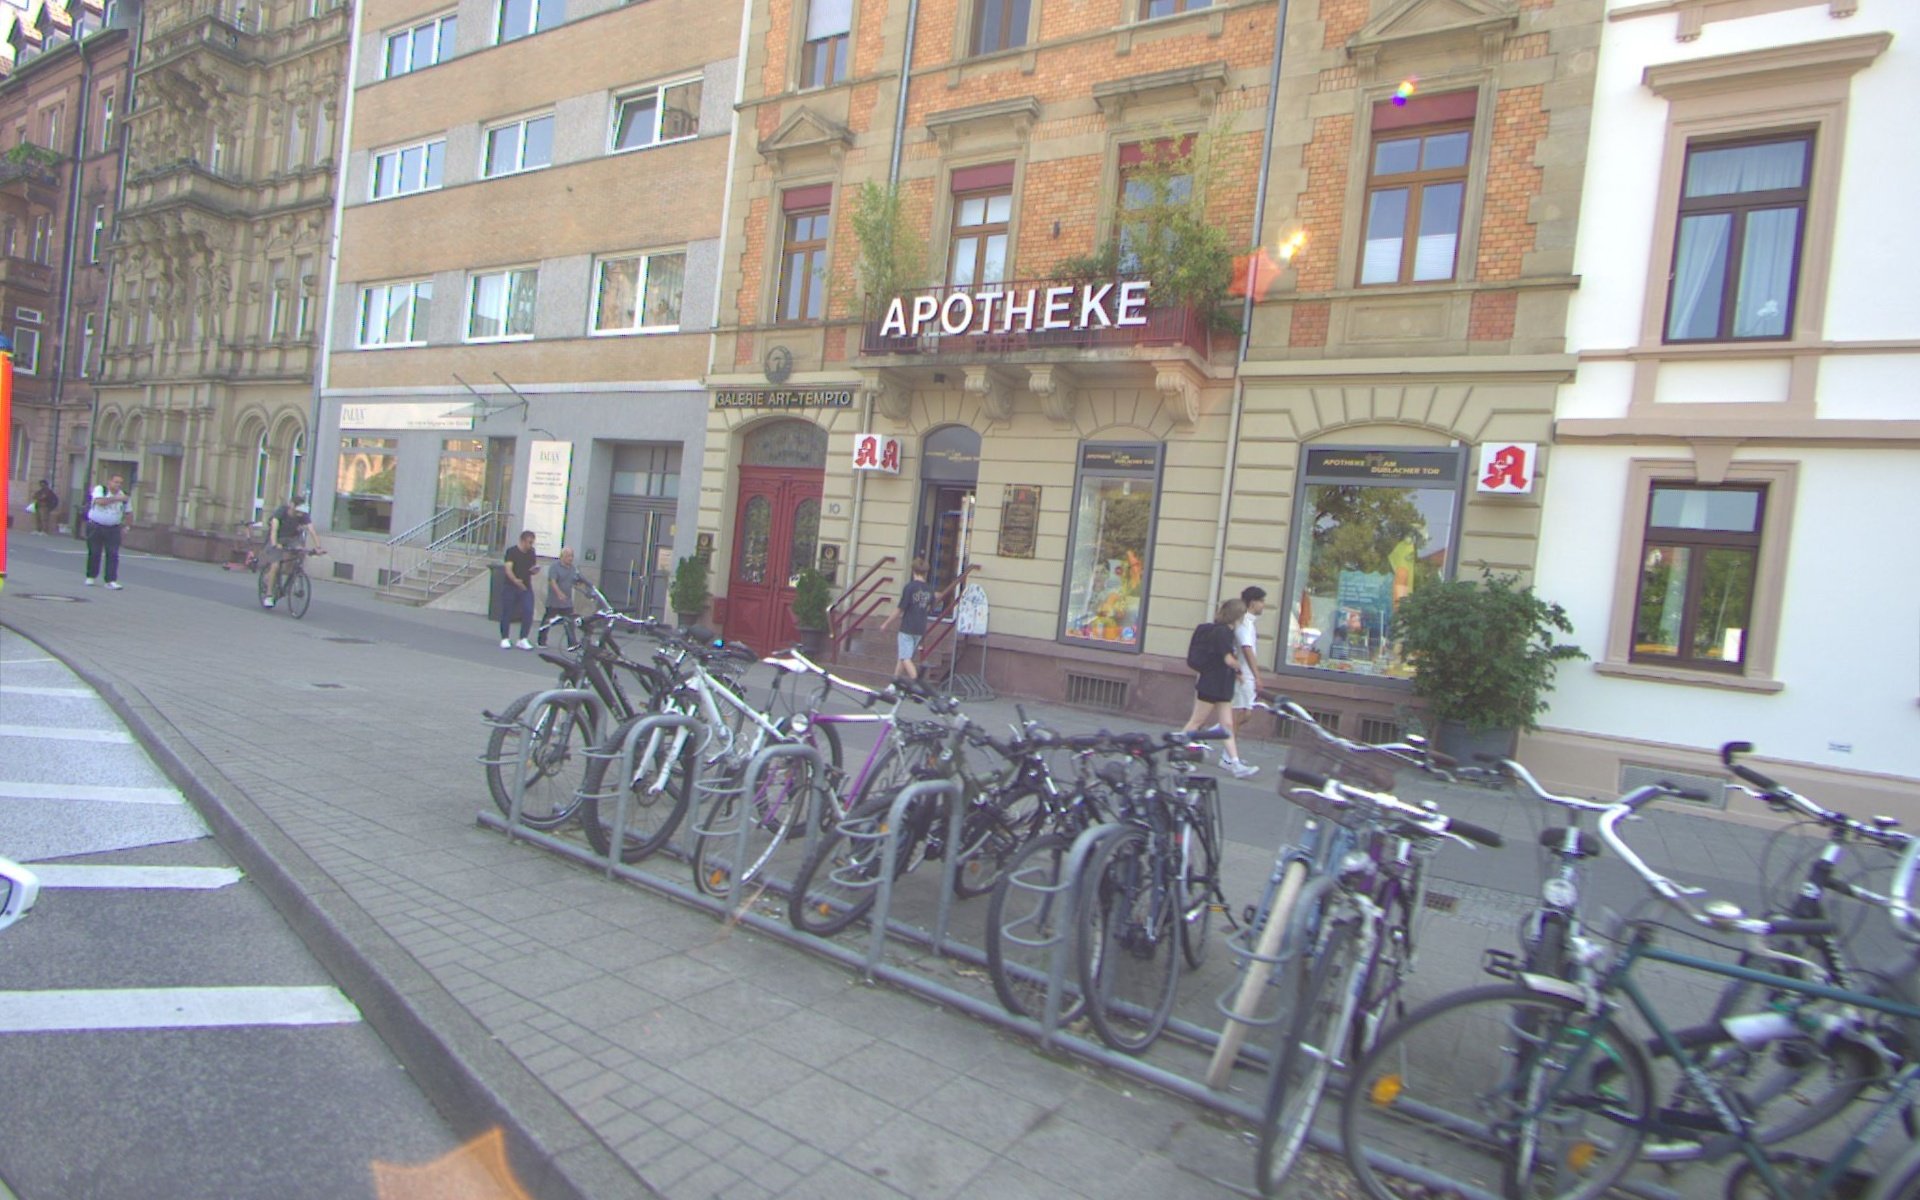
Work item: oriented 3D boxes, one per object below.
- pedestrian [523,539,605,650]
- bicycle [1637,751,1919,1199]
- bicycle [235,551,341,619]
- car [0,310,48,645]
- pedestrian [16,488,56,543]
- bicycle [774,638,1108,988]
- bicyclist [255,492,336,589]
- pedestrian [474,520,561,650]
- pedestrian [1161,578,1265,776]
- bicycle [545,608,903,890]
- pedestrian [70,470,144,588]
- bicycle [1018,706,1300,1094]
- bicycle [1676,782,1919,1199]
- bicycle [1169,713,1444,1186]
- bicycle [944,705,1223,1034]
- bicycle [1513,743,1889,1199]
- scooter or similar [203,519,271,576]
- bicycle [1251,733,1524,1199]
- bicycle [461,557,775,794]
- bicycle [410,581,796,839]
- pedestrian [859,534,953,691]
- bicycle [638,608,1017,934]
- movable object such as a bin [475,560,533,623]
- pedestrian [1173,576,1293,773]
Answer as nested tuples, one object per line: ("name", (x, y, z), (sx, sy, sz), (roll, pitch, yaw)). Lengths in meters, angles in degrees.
("pedestrian", (-5.750, -0.075, 14.627), (0.776, 1.512, 0.644), (7, 1, 31))
("bicycle", (2.911, 1.127, 2.877), (1.541, 1.133, 0.689), (8, 0, -17))
("bicycle", (-10.088, -0.232, 15.090), (1.746, 0.866, 0.589), (5, 1, 30))
("car", (-11.204, -1.373, 9.626), (5.508, 2.926, 2.299), (7, 2, 34))
("pedestrian", (-29.282, -2.683, 31.888), (0.684, 1.613, 0.624), (7, 1, 26))
("bicycle", (0.010, 0.756, 4.038), (0.464, 1.085, 1.539), (8, 0, 31))
("bicyclist", (-9.906, -0.874, 15.005), (0.572, 1.338, 0.753), (7, 1, 31))
("pedestrian", (-6.180, -0.207, 14.053), (0.776, 1.706, 0.644), (7, 1, 31))
("pedestrian", (2.423, 0.710, 9.622), (0.668, 1.774, 0.577), (7, 3, 31))
("bicycle", (-1.063, 0.665, 4.936), (0.633, 1.085, 1.660), (7, 0, 31))
("pedestrian", (-13.015, -1.071, 15.367), (0.692, 1.689, 0.597), (5, 3, -33))
("bicycle", (0.787, 0.926, 3.589), (0.359, 1.029, 1.539), (8, 0, 31))
("bicycle", (2.298, 1.034, 1.845), (1.481, 1.084, 0.476), (6, 1, 32))
("bicycle", (1.250, 0.963, 3.360), (0.359, 1.085, 1.838), (8, 0, 31))
("bicycle", (0.556, 0.924, 3.899), (0.359, 0.964, 1.539), (8, 0, 31))
("bicycle", (1.872, 1.032, 2.804), (0.375, 1.085, 2.126), (8, 0, 27))
("scooter or similar", (-17.208, -1.250, 23.946), (1.279, 1.211, 0.514), (6, 1, 12))
("bicycle", (1.244, 0.963, 2.765), (0.359, 1.085, 1.539), (8, 0, 31))
("bicycle", (-2.046, 0.465, 6.239), (0.634, 1.230, 1.674), (7, 0, 36))
("bicycle", (-1.782, 0.550, 5.298), (0.634, 1.085, 1.776), (7, 0, 36))
("pedestrian", (-0.682, 0.152, 12.860), (0.828, 1.871, 0.685), (6, 3, 23))
("bicycle", (-0.480, 0.669, 4.417), (0.633, 1.085, 1.660), (8, 0, 31))
("movable object such as a bin", (-8.317, -0.157, 18.374), (0.752, 1.061, 0.646), (6, 1, -12))
("pedestrian", (2.735, 0.715, 10.072), (0.865, 1.819, 0.599), (7, 3, 31))
